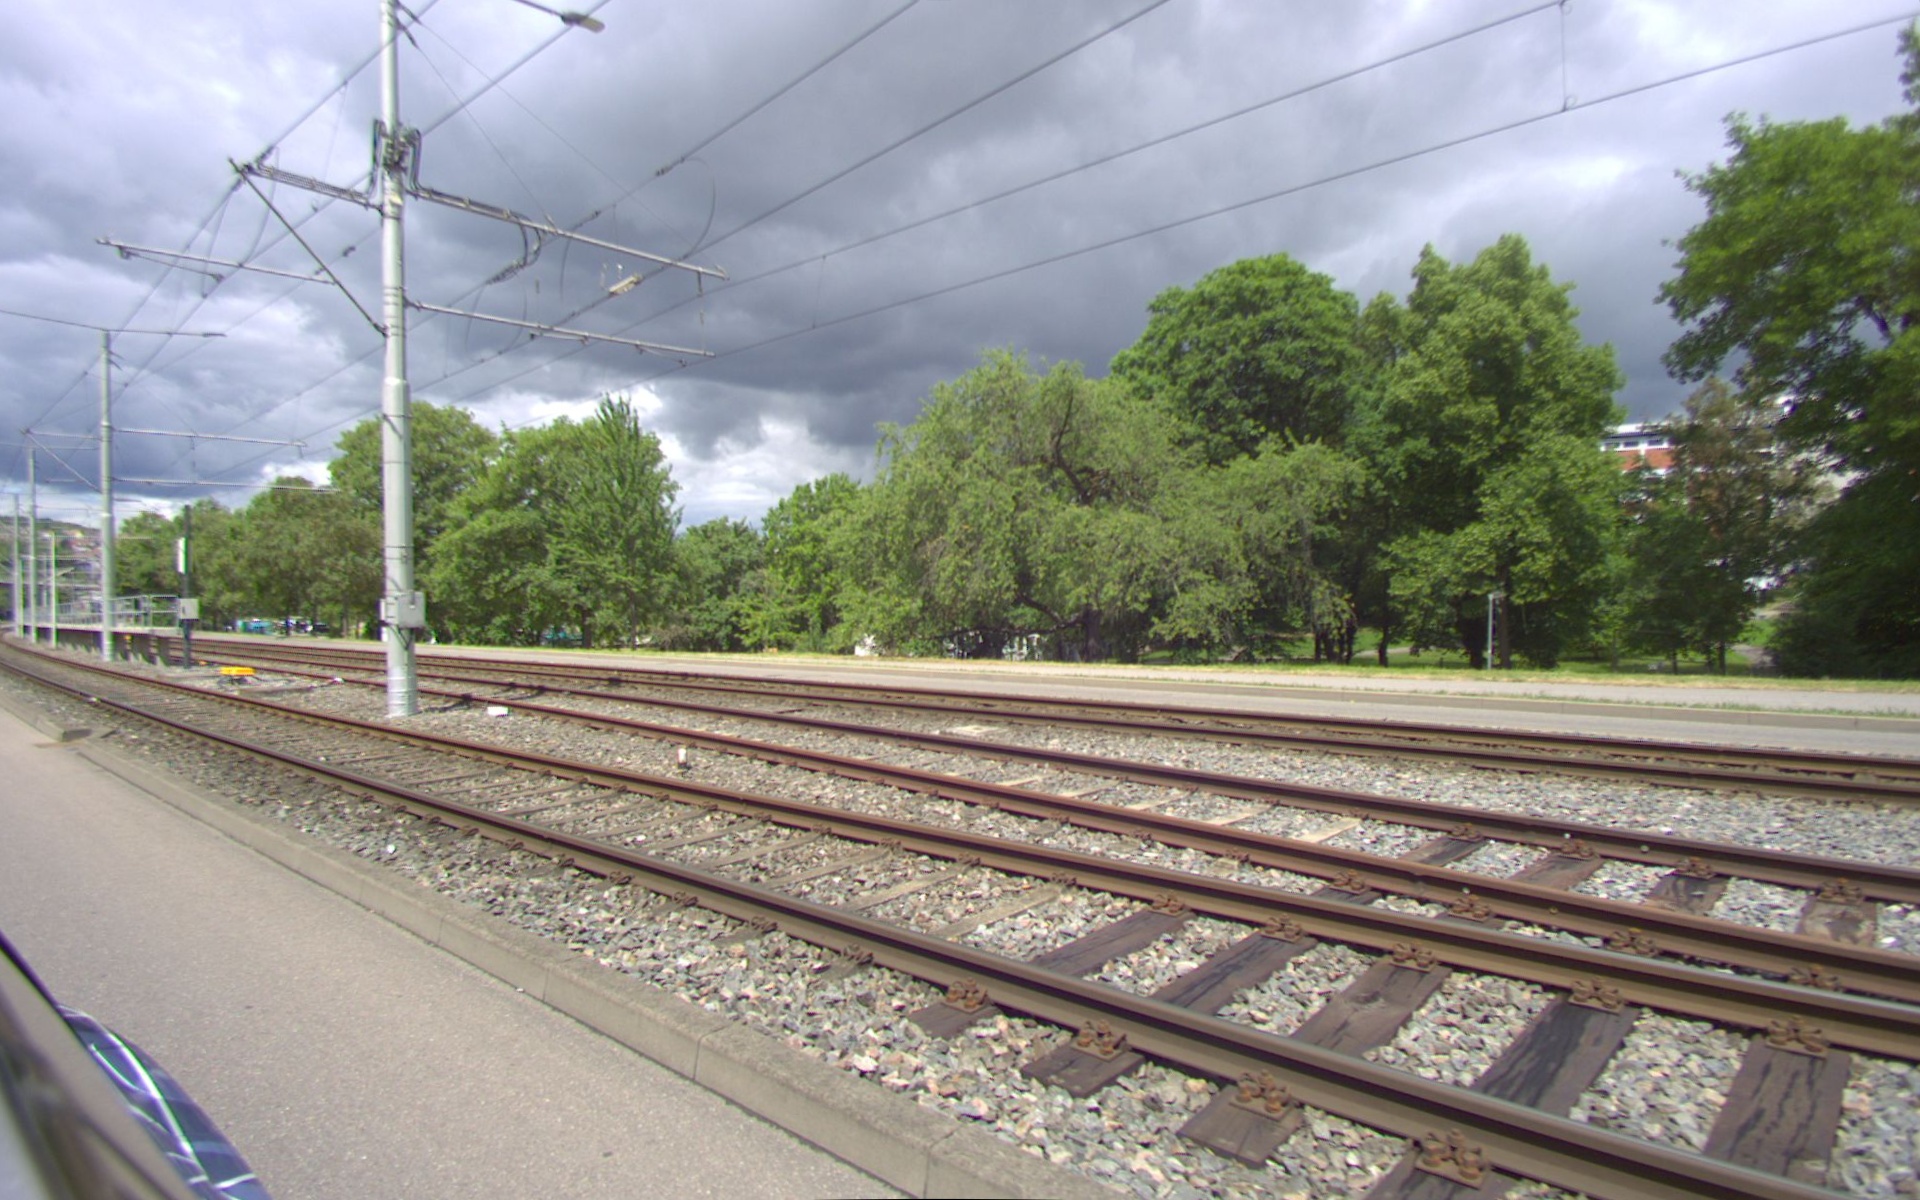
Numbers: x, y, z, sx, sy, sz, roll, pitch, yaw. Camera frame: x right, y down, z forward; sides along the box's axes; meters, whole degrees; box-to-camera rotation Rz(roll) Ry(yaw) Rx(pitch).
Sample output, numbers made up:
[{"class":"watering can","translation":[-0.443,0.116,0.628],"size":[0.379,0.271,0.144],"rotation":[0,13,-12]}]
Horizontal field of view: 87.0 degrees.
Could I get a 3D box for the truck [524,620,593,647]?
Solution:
[{"class":"truck","translation":[-44.434,3.772,112.046],"size":[6.522,2.877,2.682],"rotation":[3,-3,-42]}]
